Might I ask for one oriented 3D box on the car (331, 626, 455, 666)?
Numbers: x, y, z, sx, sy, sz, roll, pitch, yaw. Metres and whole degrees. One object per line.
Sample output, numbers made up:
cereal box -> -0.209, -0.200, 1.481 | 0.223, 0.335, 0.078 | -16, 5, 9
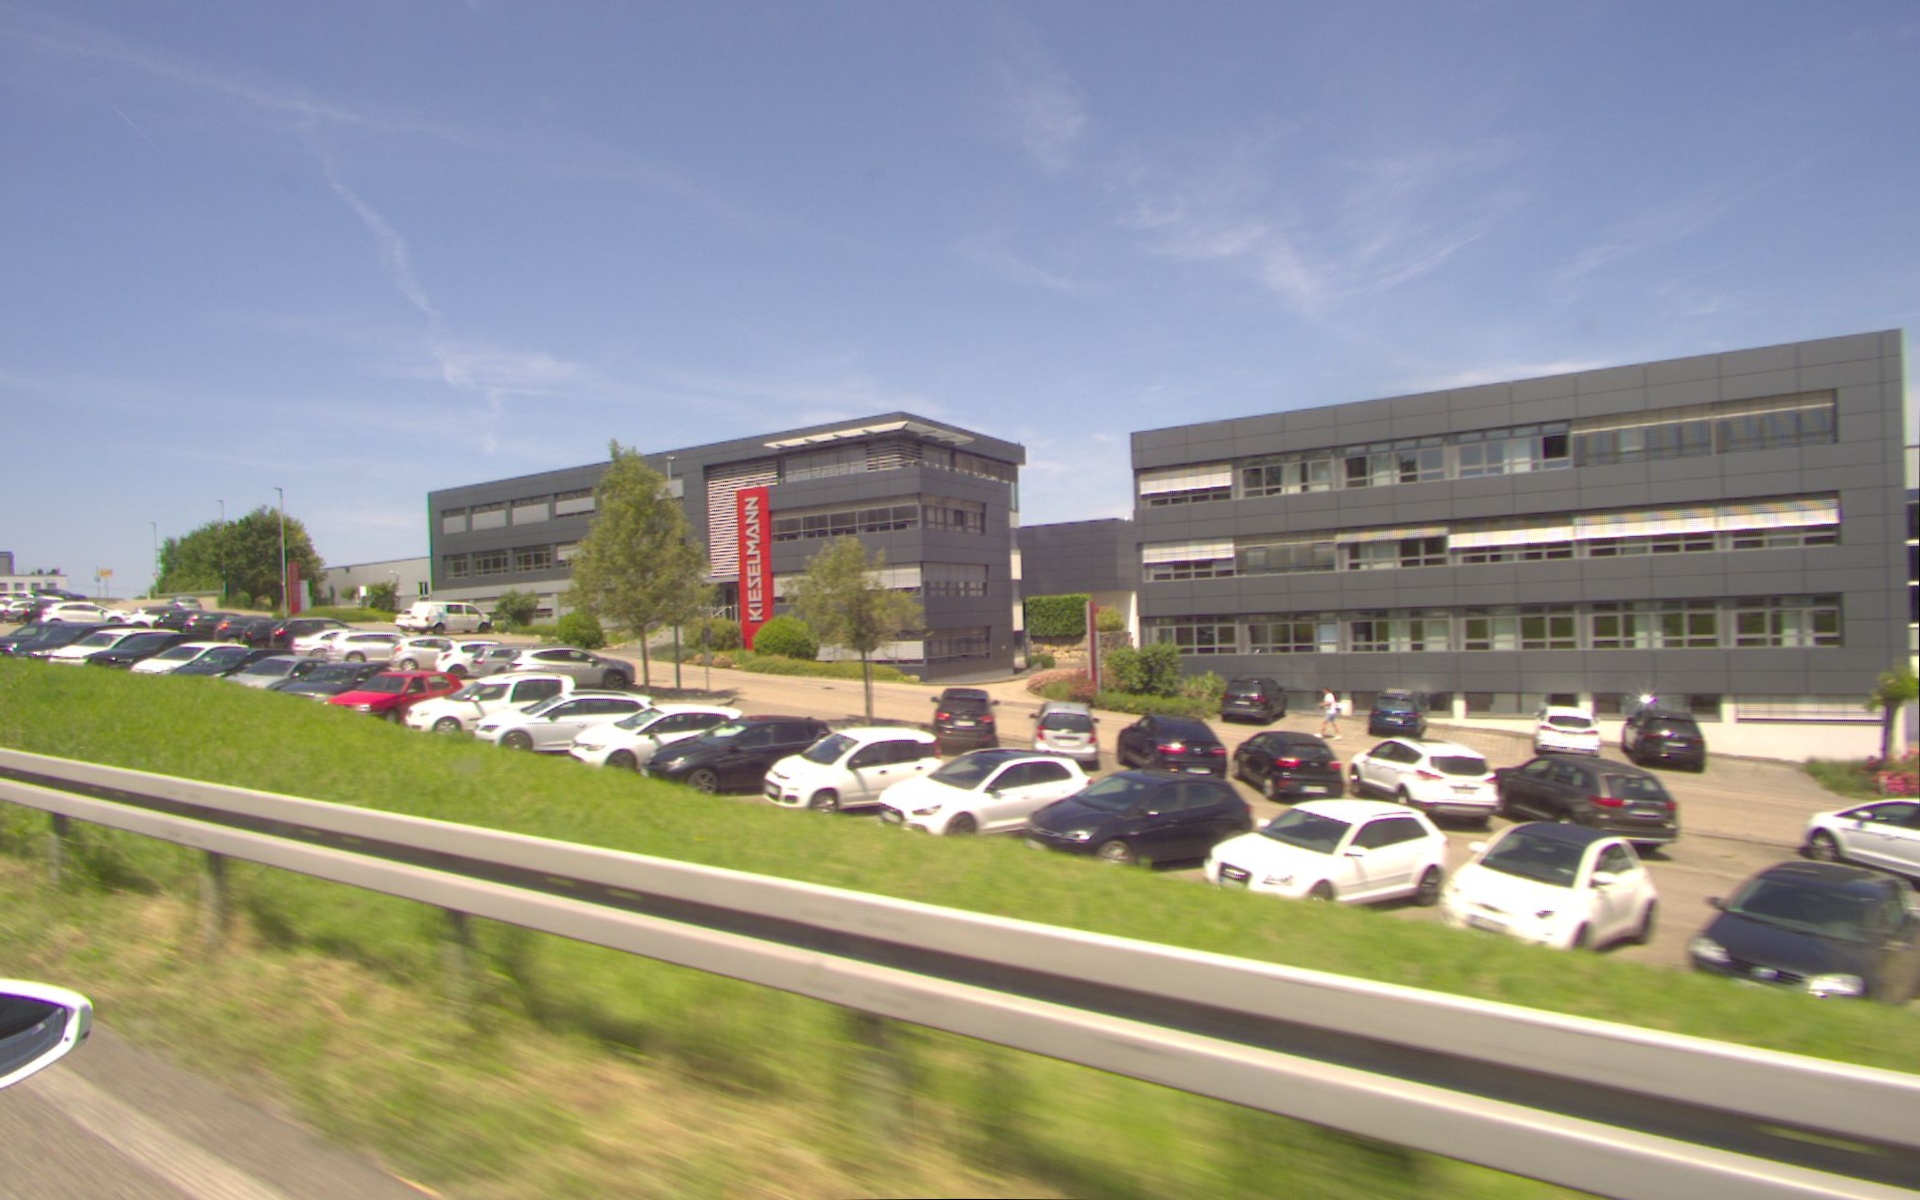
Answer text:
car -> -24.217, 1.963, 42.927 | 4.519, 1.541, 1.810 | 2, 3, -28

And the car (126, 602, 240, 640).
car -> -41.707, 1.161, 53.911 | 4.528, 1.648, 1.810 | 6, -4, -32

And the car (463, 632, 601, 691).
car -> -16.396, 2.372, 38.464 | 4.530, 1.650, 1.807 | 7, 4, -33

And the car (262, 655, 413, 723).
car -> -18.167, 2.557, 29.504 | 1.852, 1.706, 4.380 | 4, -4, -5

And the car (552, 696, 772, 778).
car -> -6.694, 3.108, 22.670 | 4.325, 1.578, 1.876 | 7, -4, -34

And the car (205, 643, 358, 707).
car -> -20.691, 2.279, 30.796 | 1.852, 1.706, 4.380 | 4, -4, -5

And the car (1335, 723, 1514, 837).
car -> 10.417, 3.987, 22.906 | 1.785, 1.682, 4.586 | 4, 0, -1

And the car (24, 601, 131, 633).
car -> -52.321, 1.033, 59.488 | 4.535, 1.649, 1.806 | 4, -3, -38

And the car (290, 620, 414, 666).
car -> -27.031, 1.923, 44.621 | 4.528, 1.648, 1.810 | 6, -4, -32

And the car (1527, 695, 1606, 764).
car -> 20.133, 4.232, 33.386 | 1.791, 1.593, 4.569 | 3, 1, 26

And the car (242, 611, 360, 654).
car -> -31.249, 1.578, 47.668 | 4.528, 1.648, 1.810 | 6, -4, -32

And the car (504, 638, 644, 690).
car -> -14.089, 2.294, 36.632 | 4.526, 1.651, 1.808 | 1, 2, -33

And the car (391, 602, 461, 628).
car -> -34.638, 0.958, 65.042 | 1.660, 1.609, 3.654 | 2, 1, 32

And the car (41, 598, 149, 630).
car -> -50.063, 0.850, 58.086 | 4.534, 1.649, 1.806 | 4, -2, -38

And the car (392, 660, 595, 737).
car -> -12.104, 2.587, 26.110 | 4.410, 1.706, 1.874 | 7, -4, -37

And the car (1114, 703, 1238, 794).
car -> 5.374, 3.688, 25.546 | 1.786, 1.533, 4.585 | 4, 0, -4

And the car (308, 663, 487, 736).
car -> -15.354, 2.703, 27.669 | 1.852, 1.706, 4.381 | 4, -4, 10

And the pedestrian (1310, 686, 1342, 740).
pedestrian -> 12.437, 3.831, 34.015 | 0.816, 1.744, 0.632 | 2, -3, 32

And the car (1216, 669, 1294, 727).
car -> 11.343, 3.685, 38.299 | 1.792, 1.670, 4.565 | 3, 1, 30

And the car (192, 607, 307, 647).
car -> -35.974, 1.381, 50.895 | 4.528, 1.648, 1.810 | 6, -4, -32

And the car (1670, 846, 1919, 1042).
car -> 10.640, 4.045, 12.352 | 4.326, 1.508, 1.699 | 7, -4, -35

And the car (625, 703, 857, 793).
car -> -4.560, 3.118, 21.104 | 4.325, 1.578, 1.876 | 7, -4, -34

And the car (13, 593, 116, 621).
car -> -54.725, 0.444, 61.339 | 4.533, 1.650, 1.807 | 2, -1, -38

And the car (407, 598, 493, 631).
car -> -31.962, 0.901, 62.891 | 1.794, 1.976, 4.562 | 2, 1, 32

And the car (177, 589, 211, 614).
car -> -56.389, 0.171, 73.779 | 1.790, 1.683, 3.973 | 2, -3, -36

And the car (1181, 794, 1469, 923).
car -> 5.627, 3.817, 15.268 | 4.321, 1.411, 1.808 | 6, -4, -32

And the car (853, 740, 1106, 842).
car -> 0.425, 3.433, 18.317 | 4.325, 1.474, 1.807 | 7, -4, -34

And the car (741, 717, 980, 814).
car -> -1.925, 3.264, 19.979 | 4.325, 1.578, 1.850 | 7, -4, -34

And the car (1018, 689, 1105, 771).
car -> 2.715, 3.520, 27.784 | 1.785, 1.560, 4.586 | 4, 0, -1

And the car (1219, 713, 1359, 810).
car -> 7.988, 3.890, 24.792 | 1.785, 1.533, 4.586 | 4, 0, -1

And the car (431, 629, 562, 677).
car -> -18.577, 2.120, 40.205 | 4.527, 1.651, 1.807 | 3, 4, -33

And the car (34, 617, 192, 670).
car -> -31.305, 1.663, 37.209 | 1.851, 1.706, 4.382 | 4, -4, 4

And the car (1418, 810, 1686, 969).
car -> 8.346, 3.896, 13.991 | 4.078, 1.536, 1.668 | 7, -4, -35

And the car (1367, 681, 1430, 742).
car -> 15.881, 3.957, 36.157 | 1.791, 1.593, 4.569 | 3, 1, 27

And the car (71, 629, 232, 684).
car -> -28.488, 2.021, 35.498 | 1.851, 1.706, 4.382 | 4, -4, 4

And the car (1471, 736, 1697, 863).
car -> 13.003, 4.099, 21.277 | 1.756, 1.682, 4.586 | 4, 0, -1

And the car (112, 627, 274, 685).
car -> -26.041, 1.937, 34.210 | 1.851, 1.706, 4.382 | 4, -4, 4

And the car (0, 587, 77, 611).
car -> -71.582, -0.079, 77.494 | 4.514, 1.649, 1.815 | 2, -2, -24

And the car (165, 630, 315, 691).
car -> -23.229, 1.957, 32.538 | 1.852, 1.706, 4.380 | 4, -4, -5

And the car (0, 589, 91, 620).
car -> -57.588, 0.283, 62.781 | 4.535, 1.649, 1.806 | 4, -2, -38

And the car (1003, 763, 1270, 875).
car -> 3.061, 3.644, 17.041 | 4.321, 1.474, 1.808 | 6, -4, -32

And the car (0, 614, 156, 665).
car -> -33.621, 1.563, 38.319 | 1.851, 1.706, 4.382 | 4, -4, 4

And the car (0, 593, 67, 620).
car -> -62.602, 0.445, 66.624 | 4.533, 1.649, 1.807 | 3, -3, -38

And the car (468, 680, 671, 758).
car -> -9.530, 2.919, 24.492 | 4.318, 1.578, 1.879 | 6, -4, -29

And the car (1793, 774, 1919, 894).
car -> 17.948, 4.435, 18.118 | 1.756, 1.682, 4.586 | 4, 0, -1

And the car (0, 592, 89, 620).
car -> -59.648, 0.418, 65.010 | 4.533, 1.649, 1.807 | 2, -3, -38

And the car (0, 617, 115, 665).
car -> -36.459, 1.629, 39.730 | 1.851, 1.706, 4.382 | 4, -4, 4

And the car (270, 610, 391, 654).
car -> -28.875, 1.481, 46.071 | 4.528, 1.648, 1.810 | 6, -4, -32

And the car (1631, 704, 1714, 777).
car -> 22.668, 4.407, 31.999 | 1.794, 1.593, 4.562 | 3, 1, 32

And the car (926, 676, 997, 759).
car -> -0.003, 3.292, 28.808 | 1.785, 1.651, 4.239 | 4, 2, -1

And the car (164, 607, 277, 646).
car -> -38.686, 1.393, 52.530 | 4.528, 1.648, 1.810 | 6, -4, -32

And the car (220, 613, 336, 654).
car -> -33.512, 1.658, 49.398 | 4.528, 1.648, 1.810 | 6, -4, -32

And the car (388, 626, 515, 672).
car -> -21.113, 1.991, 41.636 | 4.524, 1.499, 1.808 | -2, 5, -33
